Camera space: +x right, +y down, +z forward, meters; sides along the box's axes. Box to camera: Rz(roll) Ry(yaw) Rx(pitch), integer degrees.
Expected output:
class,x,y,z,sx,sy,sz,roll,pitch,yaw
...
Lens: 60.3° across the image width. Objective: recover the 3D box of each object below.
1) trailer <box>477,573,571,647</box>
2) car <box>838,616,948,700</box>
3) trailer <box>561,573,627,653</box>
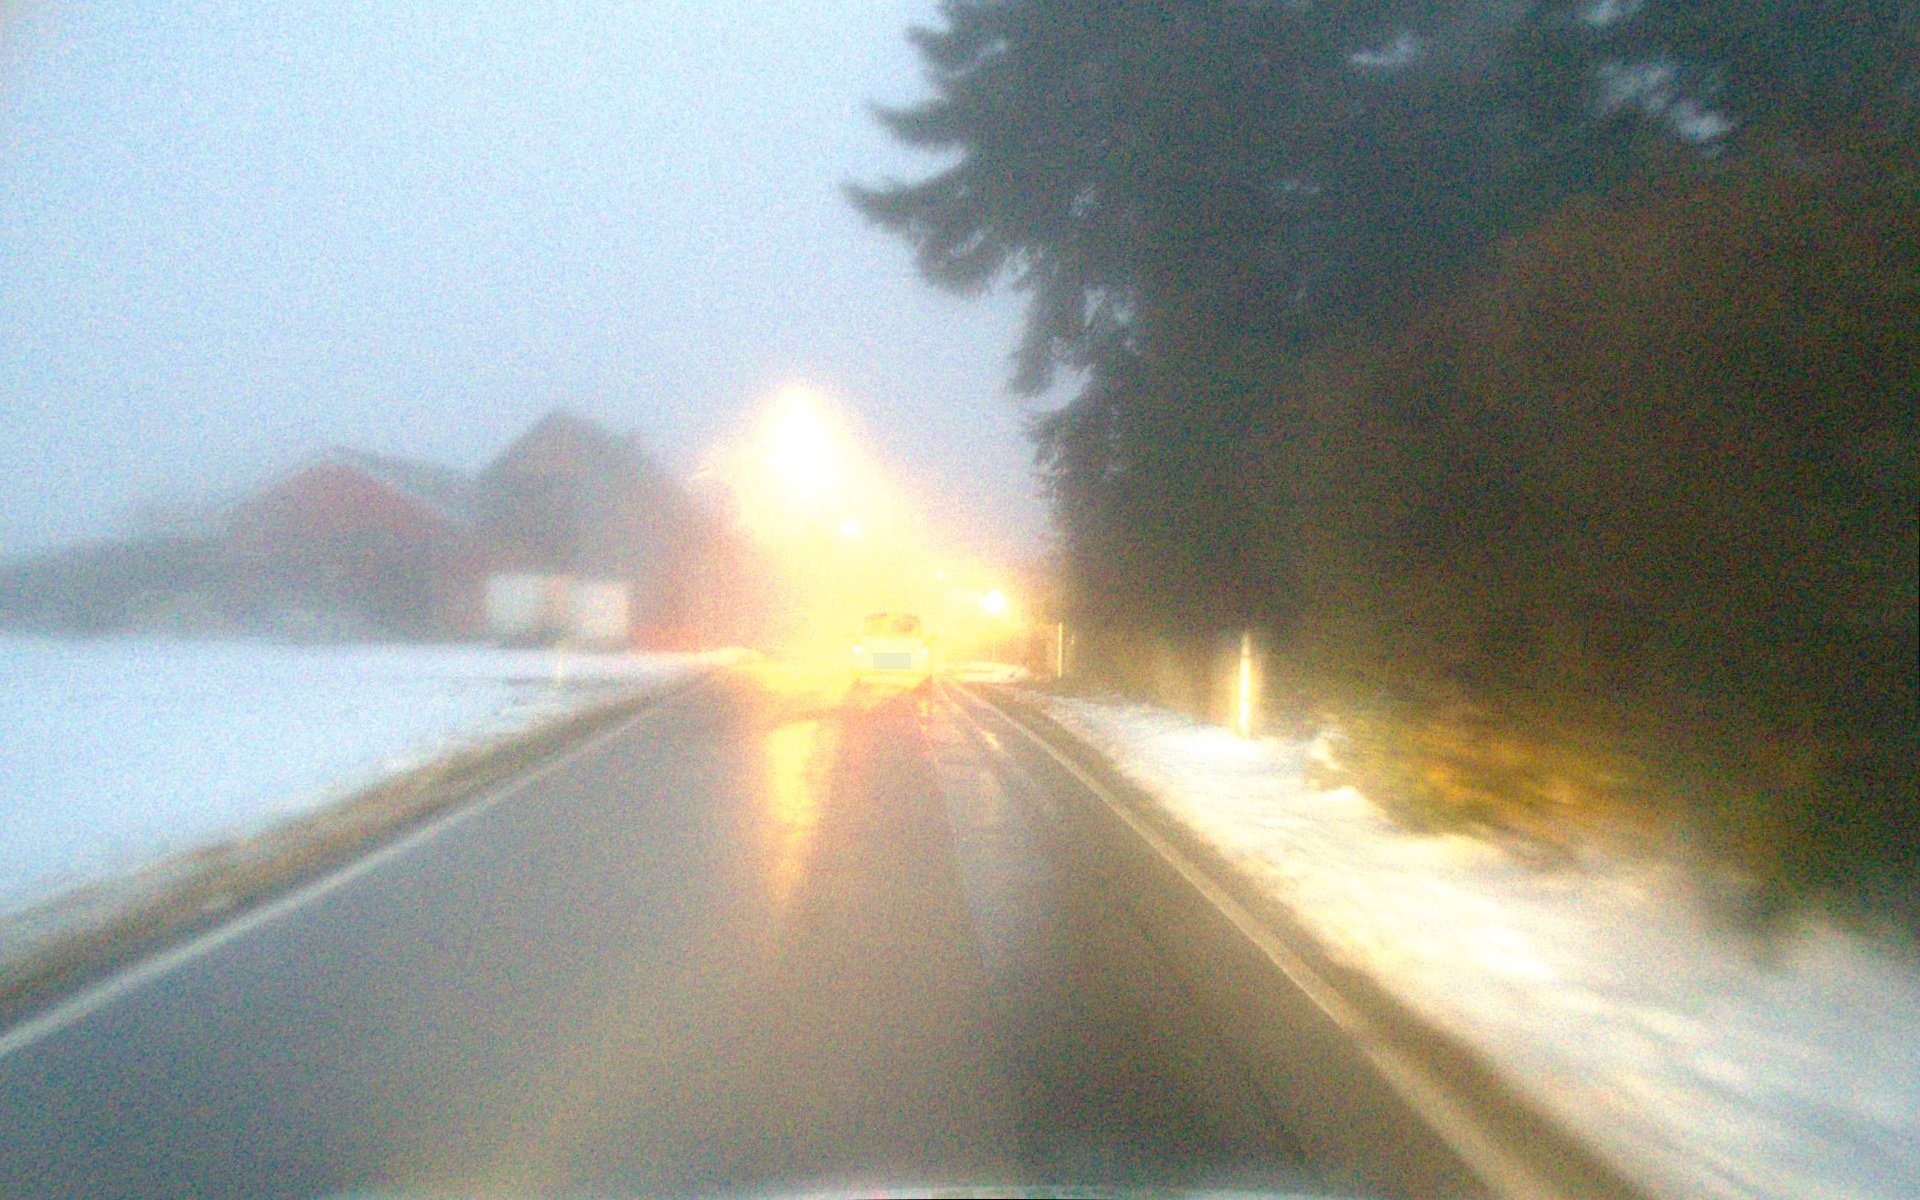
class,x,y,z,sx,sy,sz,roll,pitch,yaw
trailer,-15.377,0.364,58.544,1.951,2.533,4.012,-1,-1,5
car,-1.252,1.089,32.517,1.952,1.534,4.000,-1,-1,0
trailer,-12.646,0.454,57.039,1.666,2.651,3.421,0,-1,-23
